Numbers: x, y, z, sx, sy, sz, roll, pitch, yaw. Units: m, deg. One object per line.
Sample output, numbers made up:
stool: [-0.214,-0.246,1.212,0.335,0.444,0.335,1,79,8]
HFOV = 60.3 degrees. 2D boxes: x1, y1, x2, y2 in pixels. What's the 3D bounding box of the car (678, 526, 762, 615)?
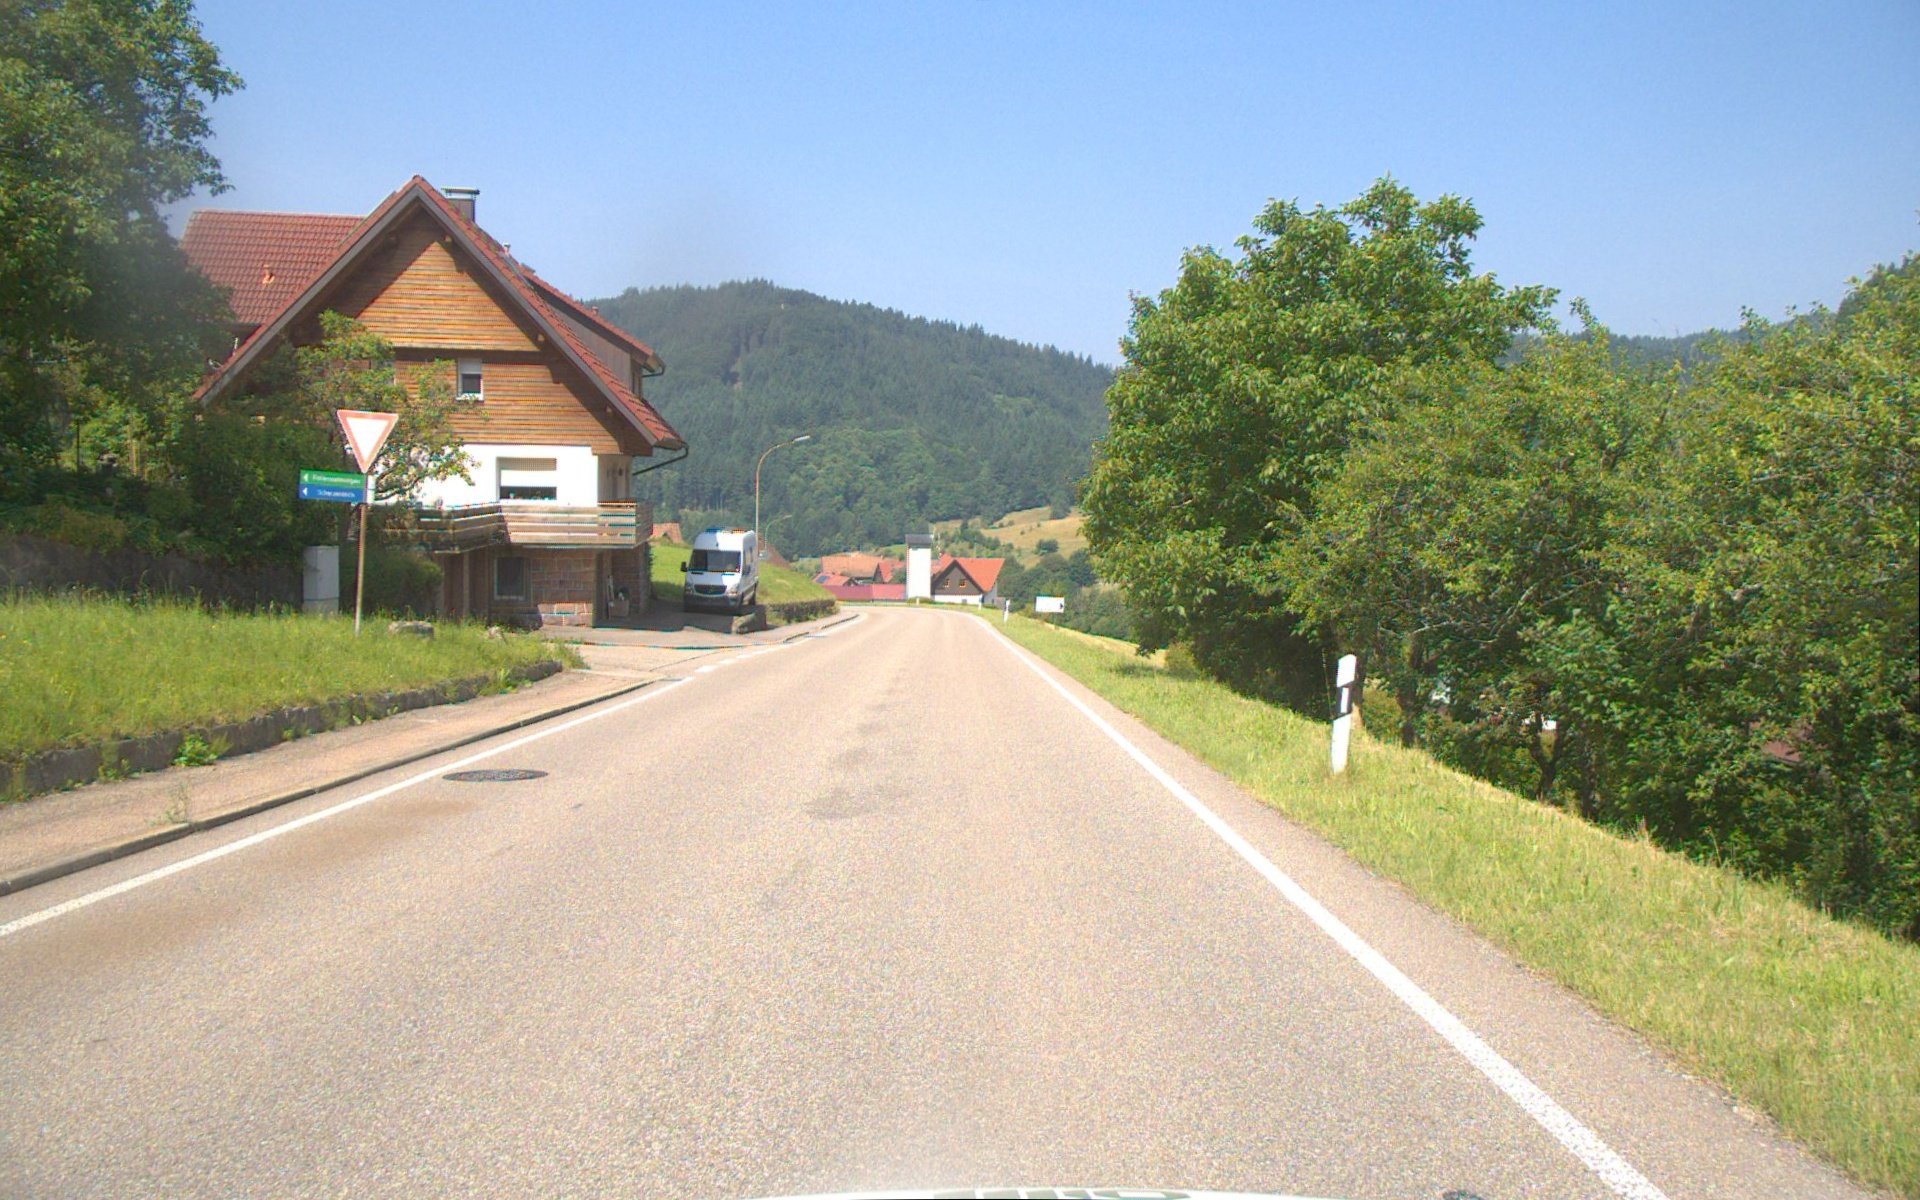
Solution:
car: [-8.247,-1.107,57.471,2.025,2.734,7.175,1,4,-1]
